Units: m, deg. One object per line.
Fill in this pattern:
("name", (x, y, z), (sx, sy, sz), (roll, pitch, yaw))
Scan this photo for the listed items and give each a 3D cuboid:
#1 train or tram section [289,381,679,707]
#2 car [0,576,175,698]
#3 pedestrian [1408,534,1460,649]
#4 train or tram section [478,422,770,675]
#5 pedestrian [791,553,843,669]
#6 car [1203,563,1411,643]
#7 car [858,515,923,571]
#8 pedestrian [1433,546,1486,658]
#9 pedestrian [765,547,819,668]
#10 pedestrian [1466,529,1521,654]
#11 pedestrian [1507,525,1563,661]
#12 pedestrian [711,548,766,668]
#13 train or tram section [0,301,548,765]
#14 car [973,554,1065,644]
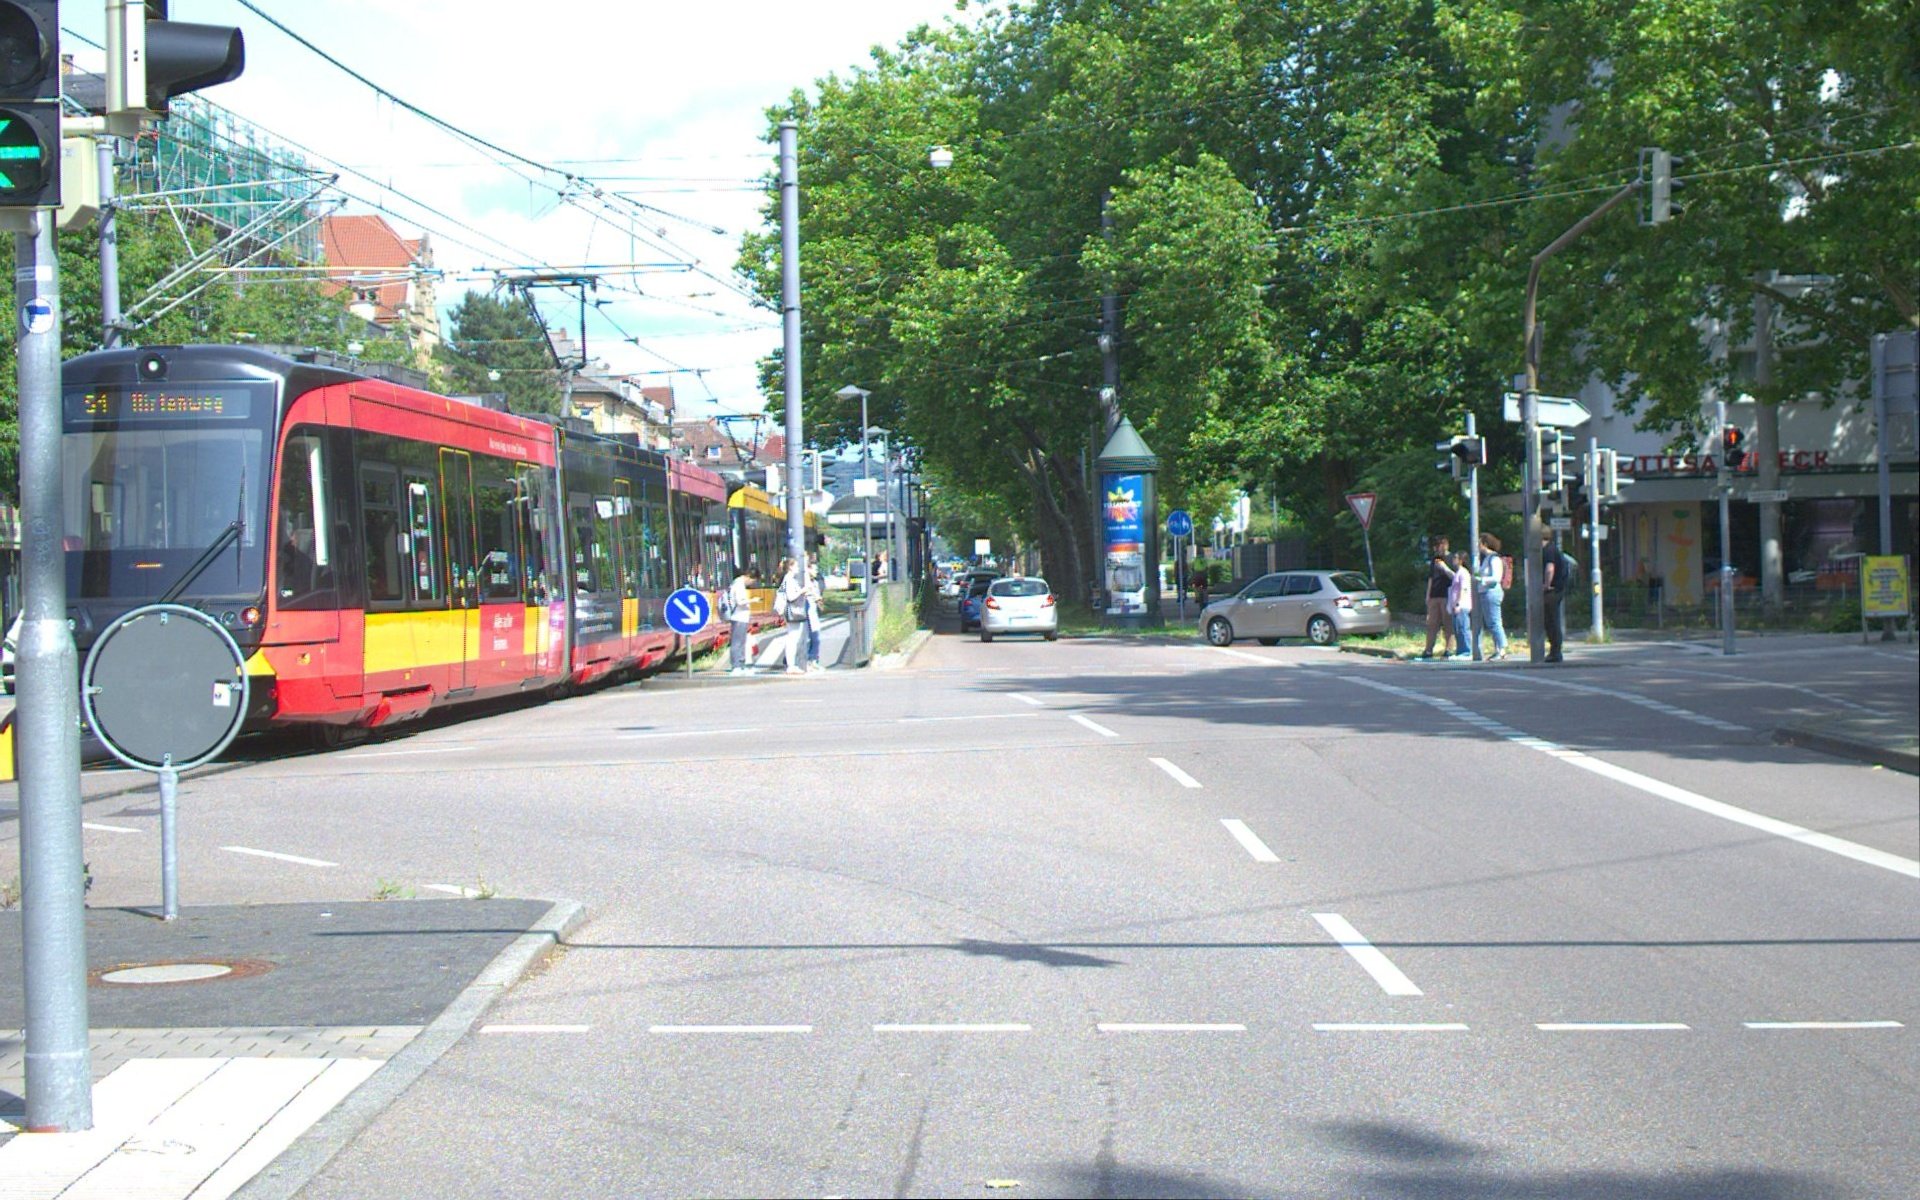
("train or tram section", (-5.750, -0.695, 43.829), (2.806, 3.549, 11.181), (-2, 1, 3))
("car", (-14.855, 0.584, 57.875), (1.993, 1.885, 5.172), (-2, 1, 1))
("pedestrian", (6.962, -0.120, 50.468), (0.510, 1.665, 0.556), (-2, 0, -21))
("train or tram section", (-5.167, -0.824, 55.447), (2.806, 3.549, 12.155), (-2, 1, 3))
("pedestrian", (-2.125, 0.157, 51.138), (0.669, 1.697, 0.648), (-2, 0, 3))
("car", (6.685, 0.060, 66.330), (3.602, 1.448, 1.750), (-1, 1, 40))
("car", (-2.293, -1.892, 114.310), (1.815, 1.798, 4.000), (-2, 1, 3))
("pedestrian", (7.249, 0.028, 49.900), (0.510, 1.592, 0.556), (-2, 0, -21))
("pedestrian", (-2.395, 0.102, 49.051), (0.669, 1.697, 0.648), (-2, 0, 3))
("pedestrian", (7.532, -0.120, 48.541), (0.527, 1.729, 0.556), (-2, 0, -21))
("pedestrian", (7.782, -0.091, 46.523), (0.481, 1.819, 0.555), (-1, 1, 43))
("pedestrian", (-3.162, 0.109, 49.134), (0.669, 1.697, 0.648), (-2, 0, 3))
("train or tram section", (-6.283, -0.592, 32.574), (2.796, 3.549, 11.376), (-2, 1, 3))
("car", (1.342, -0.051, 79.170), (1.993, 2.007, 4.000), (0, 1, -1))
